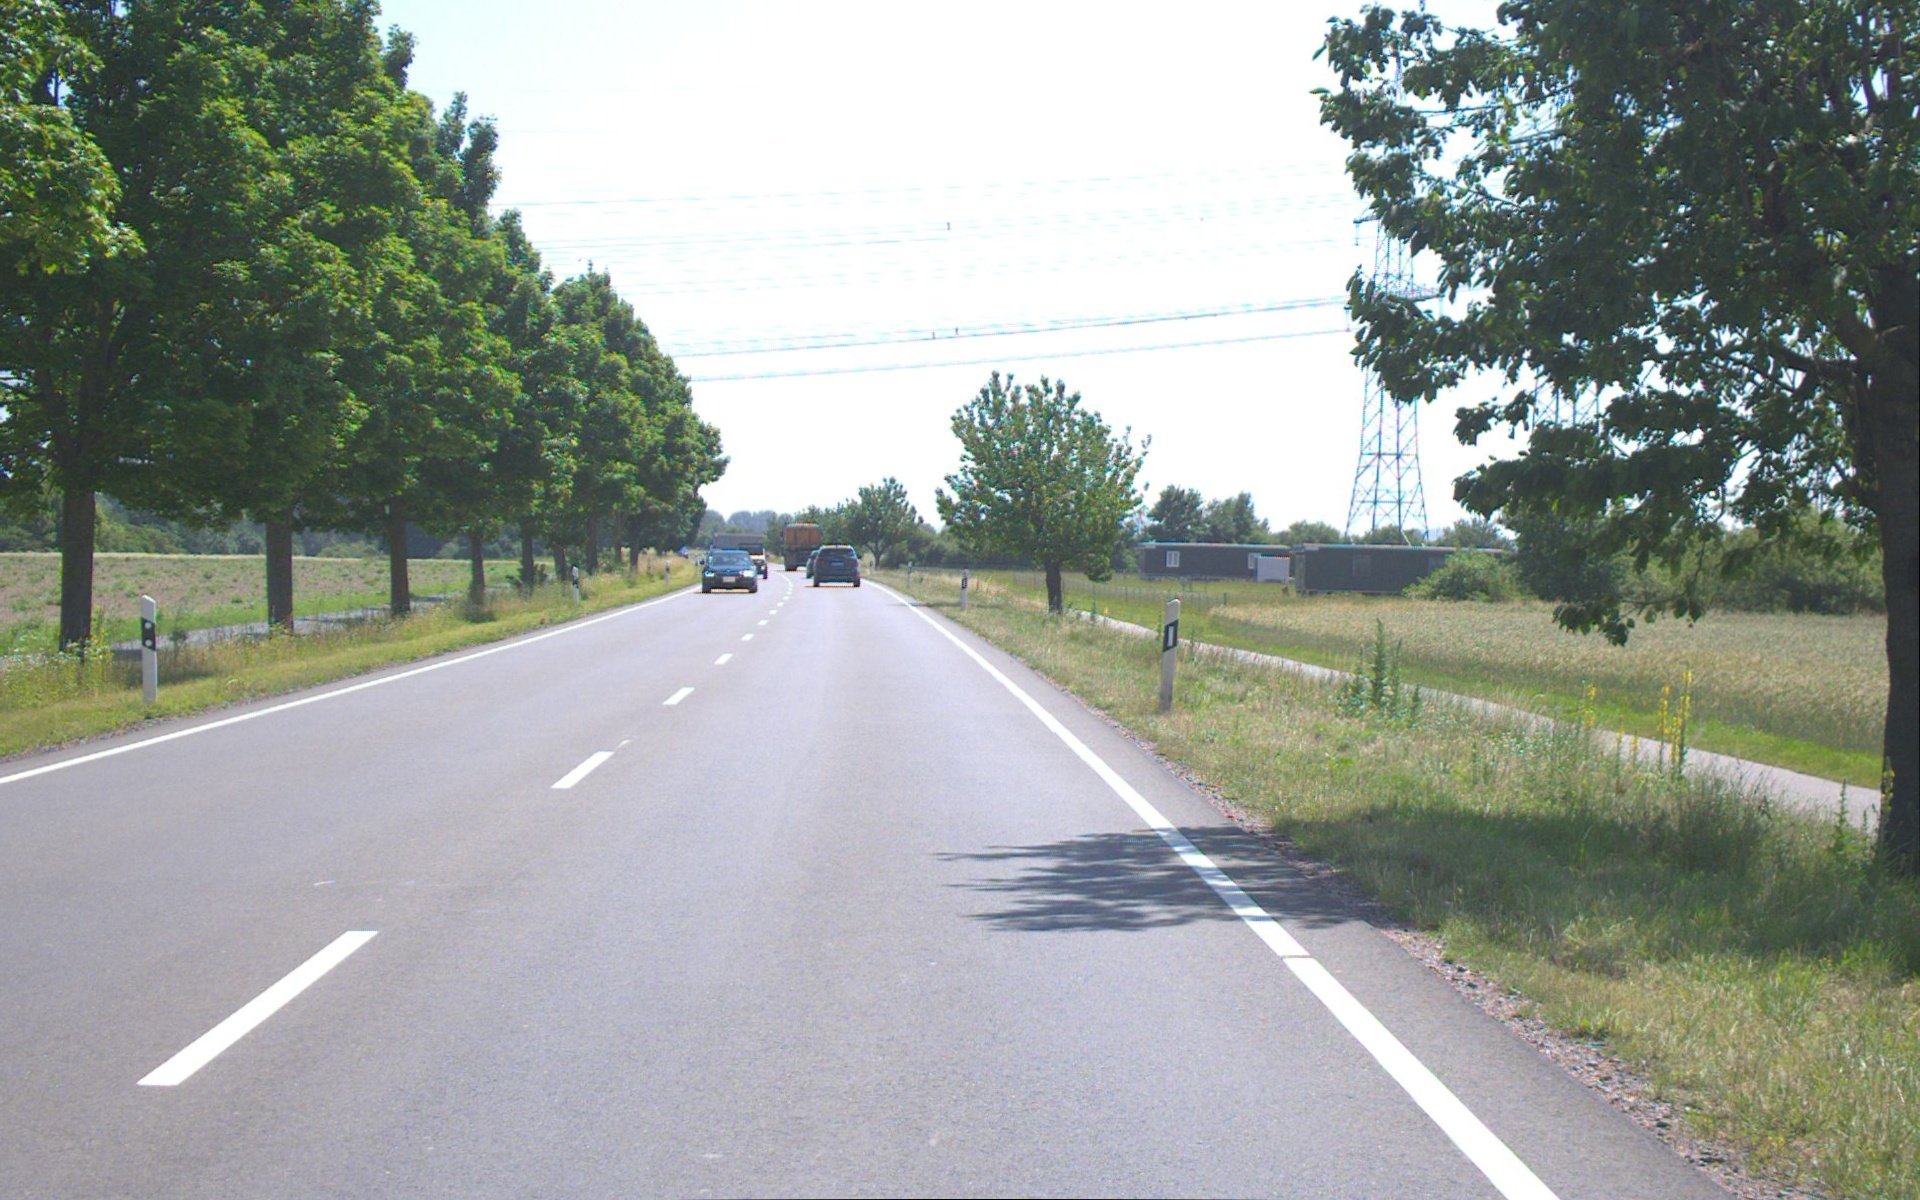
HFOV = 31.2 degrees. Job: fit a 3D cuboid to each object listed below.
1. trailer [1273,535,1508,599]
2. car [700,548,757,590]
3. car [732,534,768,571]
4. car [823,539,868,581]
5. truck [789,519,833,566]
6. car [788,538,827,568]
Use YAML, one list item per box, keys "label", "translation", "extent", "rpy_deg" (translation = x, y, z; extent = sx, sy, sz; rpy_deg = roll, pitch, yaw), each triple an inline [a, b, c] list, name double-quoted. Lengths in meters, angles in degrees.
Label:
- label: "trailer"
  translation: [25.804, -1.978, 206.280]
  extent: [13.507, 3.463, 3.277]
  rpy_deg: [1, 1, -4]
- label: "car"
  translation: [-8.026, -1.071, 119.640]
  extent: [1.822, 1.415, 4.589]
  rpy_deg: [0, 1, -2]
- label: "car"
  translation: [-10.614, -2.404, 174.043]
  extent: [1.681, 1.842, 4.001]
  rpy_deg: [1, 1, -2]
- label: "car"
  translation: [-4.638, -1.610, 139.166]
  extent: [1.714, 1.688, 3.989]
  rpy_deg: [0, 1, -3]
- label: "truck"
  translation: [-10.172, -3.909, 233.642]
  extent: [2.370, 3.129, 8.749]
  rpy_deg: [1, 1, -6]
- label: "car"
  translation: [-7.859, -2.397, 176.879]
  extent: [1.850, 1.517, 4.001]
  rpy_deg: [0, 1, -5]
